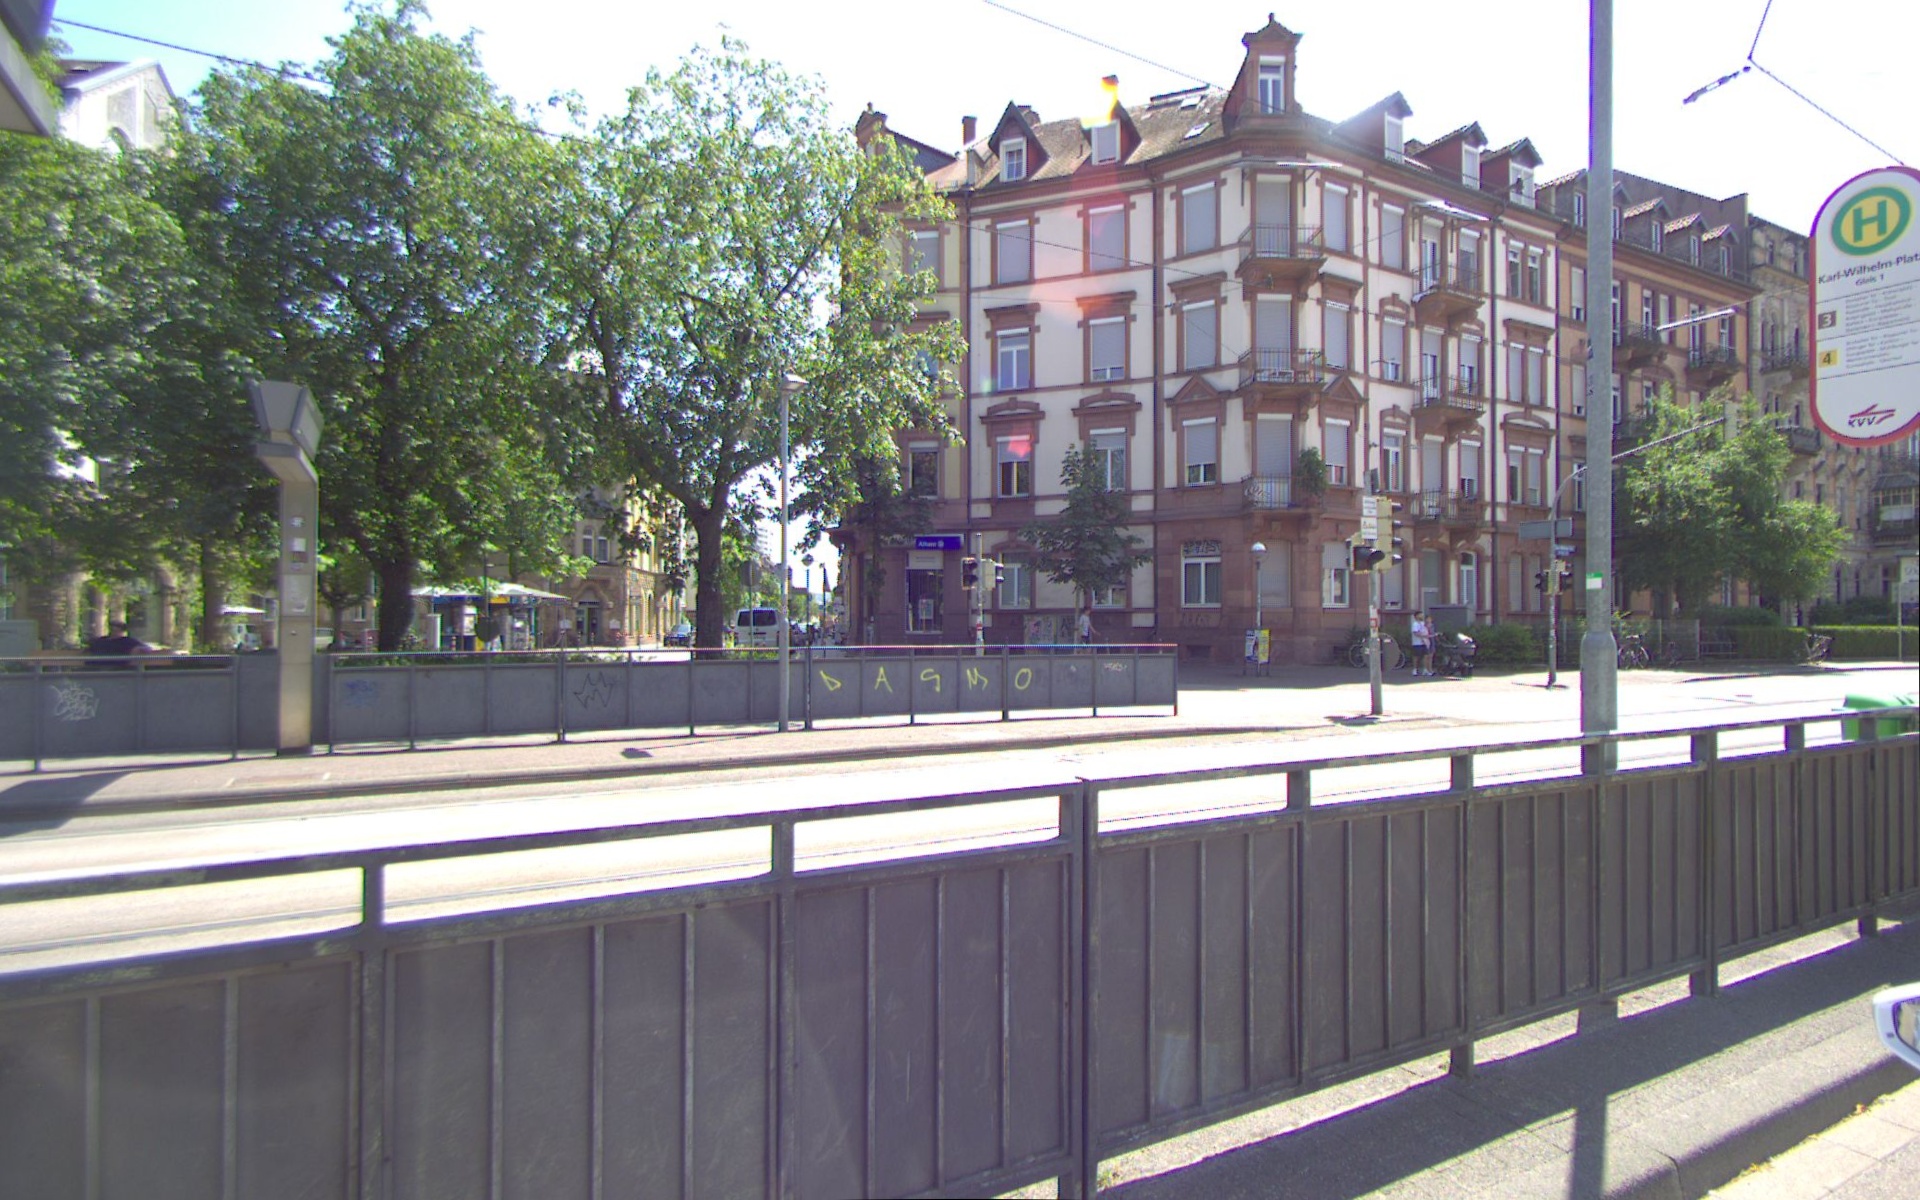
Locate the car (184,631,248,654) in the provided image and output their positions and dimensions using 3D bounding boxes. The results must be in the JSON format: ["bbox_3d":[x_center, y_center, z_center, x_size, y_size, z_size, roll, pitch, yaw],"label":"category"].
[{"bbox_3d":[-30.364,1.722,41.014,0.847,0.877,1.909,0,-1,35],"label":"car"}]

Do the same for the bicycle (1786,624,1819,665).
[{"bbox_3d":[29.245,1.531,34.884,0.583,1.374,2.433,0,-1,34],"label":"bicycle"}]

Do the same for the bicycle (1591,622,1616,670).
[{"bbox_3d":[19.781,1.388,30.848,0.606,1.414,2.301,0,-1,34],"label":"bicycle"}]

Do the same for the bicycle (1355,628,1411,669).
[{"bbox_3d":[12.699,1.440,30.153,1.494,1.185,0.364,1,1,34],"label":"bicycle"}]

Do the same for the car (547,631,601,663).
[{"bbox_3d":[-19.495,2.358,50.816,1.512,1.461,3.739,1,-1,-5],"label":"car"}]

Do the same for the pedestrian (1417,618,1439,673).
[{"bbox_3d":[13.183,1.267,28.281,0.497,1.536,0.469,1,-1,19],"label":"pedestrian"}]

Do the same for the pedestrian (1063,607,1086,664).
[{"bbox_3d":[3.622,1.113,31.704,0.500,1.791,0.527,0,-1,39],"label":"pedestrian"}]

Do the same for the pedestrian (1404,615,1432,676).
[{"bbox_3d":[12.653,1.251,27.751,0.641,1.637,0.469,1,2,19],"label":"pedestrian"}]

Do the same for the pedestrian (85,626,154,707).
[{"bbox_3d":[-13.971,1.094,16.707,0.607,1.304,0.646,1,-1,21],"label":"pedestrian"}]

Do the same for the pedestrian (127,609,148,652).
[{"bbox_3d":[-32.136,1.193,39.238,0.520,1.644,0.493,1,-1,-30],"label":"pedestrian"}]

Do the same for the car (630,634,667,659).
[{"bbox_3d":[-19.846,2.934,64.127,1.512,1.461,3.738,1,-1,-6],"label":"car"}]

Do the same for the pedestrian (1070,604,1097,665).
[{"bbox_3d":[3.796,1.046,30.788,0.556,1.849,0.632,0,-1,39],"label":"pedestrian"}]

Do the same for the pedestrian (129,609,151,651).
[{"bbox_3d":[-32.397,1.197,39.696,0.554,1.644,0.510,1,-1,-30],"label":"pedestrian"}]

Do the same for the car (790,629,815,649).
[{"bbox_3d":[-11.815,2.909,75.426,1.512,1.461,3.739,1,-1,-5],"label":"car"}]

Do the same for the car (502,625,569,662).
[{"bbox_3d":[-18.098,1.833,42.994,1.512,1.461,3.739,1,-1,-5],"label":"car"}]

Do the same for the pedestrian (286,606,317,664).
[{"bbox_3d":[-23.702,1.247,36.156,0.704,2.040,0.811,0,-1,-17],"label":"pedestrian"}]

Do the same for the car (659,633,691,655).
[{"bbox_3d":[-20.243,3.111,71.408,1.512,1.461,3.738,1,-1,-6],"label":"car"}]

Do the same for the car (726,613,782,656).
[{"bbox_3d":[-7.470,1.220,36.687,1.512,1.461,3.739,1,-1,-5],"label":"car"}]

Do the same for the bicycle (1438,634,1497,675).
[{"bbox_3d":[13.886,1.486,27.526,1.375,1.027,0.389,2,0,21],"label":"bicycle"}]
